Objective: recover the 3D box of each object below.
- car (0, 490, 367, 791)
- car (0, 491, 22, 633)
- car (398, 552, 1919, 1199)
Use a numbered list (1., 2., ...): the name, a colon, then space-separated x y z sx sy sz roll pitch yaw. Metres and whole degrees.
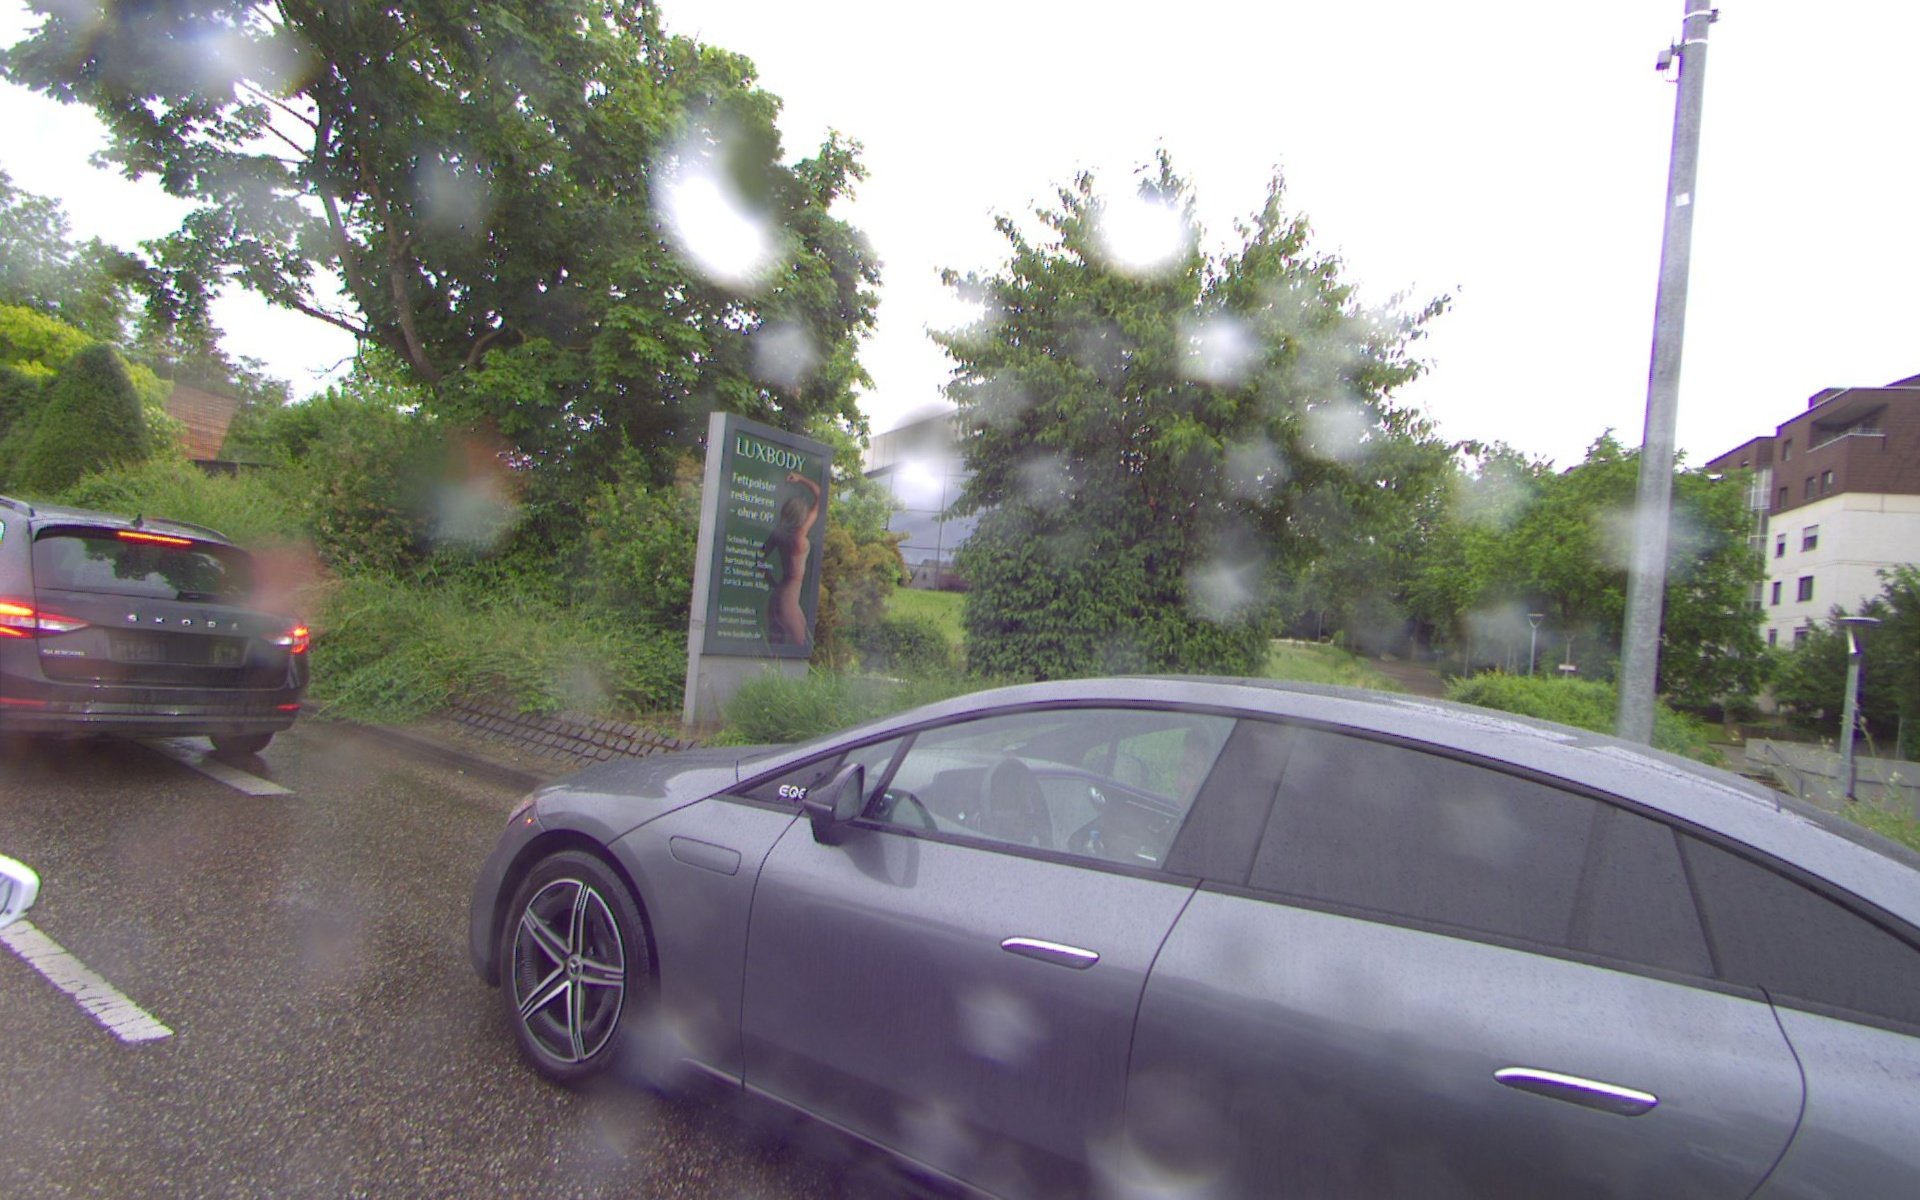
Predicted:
1. car: -6.115 0.071 6.765 4.279 1.483 1.841 7 -2 33
2. car: -12.194 -0.697 10.891 4.048 1.483 1.842 7 -2 31
3. car: 0.706 0.928 2.902 4.728 1.483 1.842 7 -2 31
